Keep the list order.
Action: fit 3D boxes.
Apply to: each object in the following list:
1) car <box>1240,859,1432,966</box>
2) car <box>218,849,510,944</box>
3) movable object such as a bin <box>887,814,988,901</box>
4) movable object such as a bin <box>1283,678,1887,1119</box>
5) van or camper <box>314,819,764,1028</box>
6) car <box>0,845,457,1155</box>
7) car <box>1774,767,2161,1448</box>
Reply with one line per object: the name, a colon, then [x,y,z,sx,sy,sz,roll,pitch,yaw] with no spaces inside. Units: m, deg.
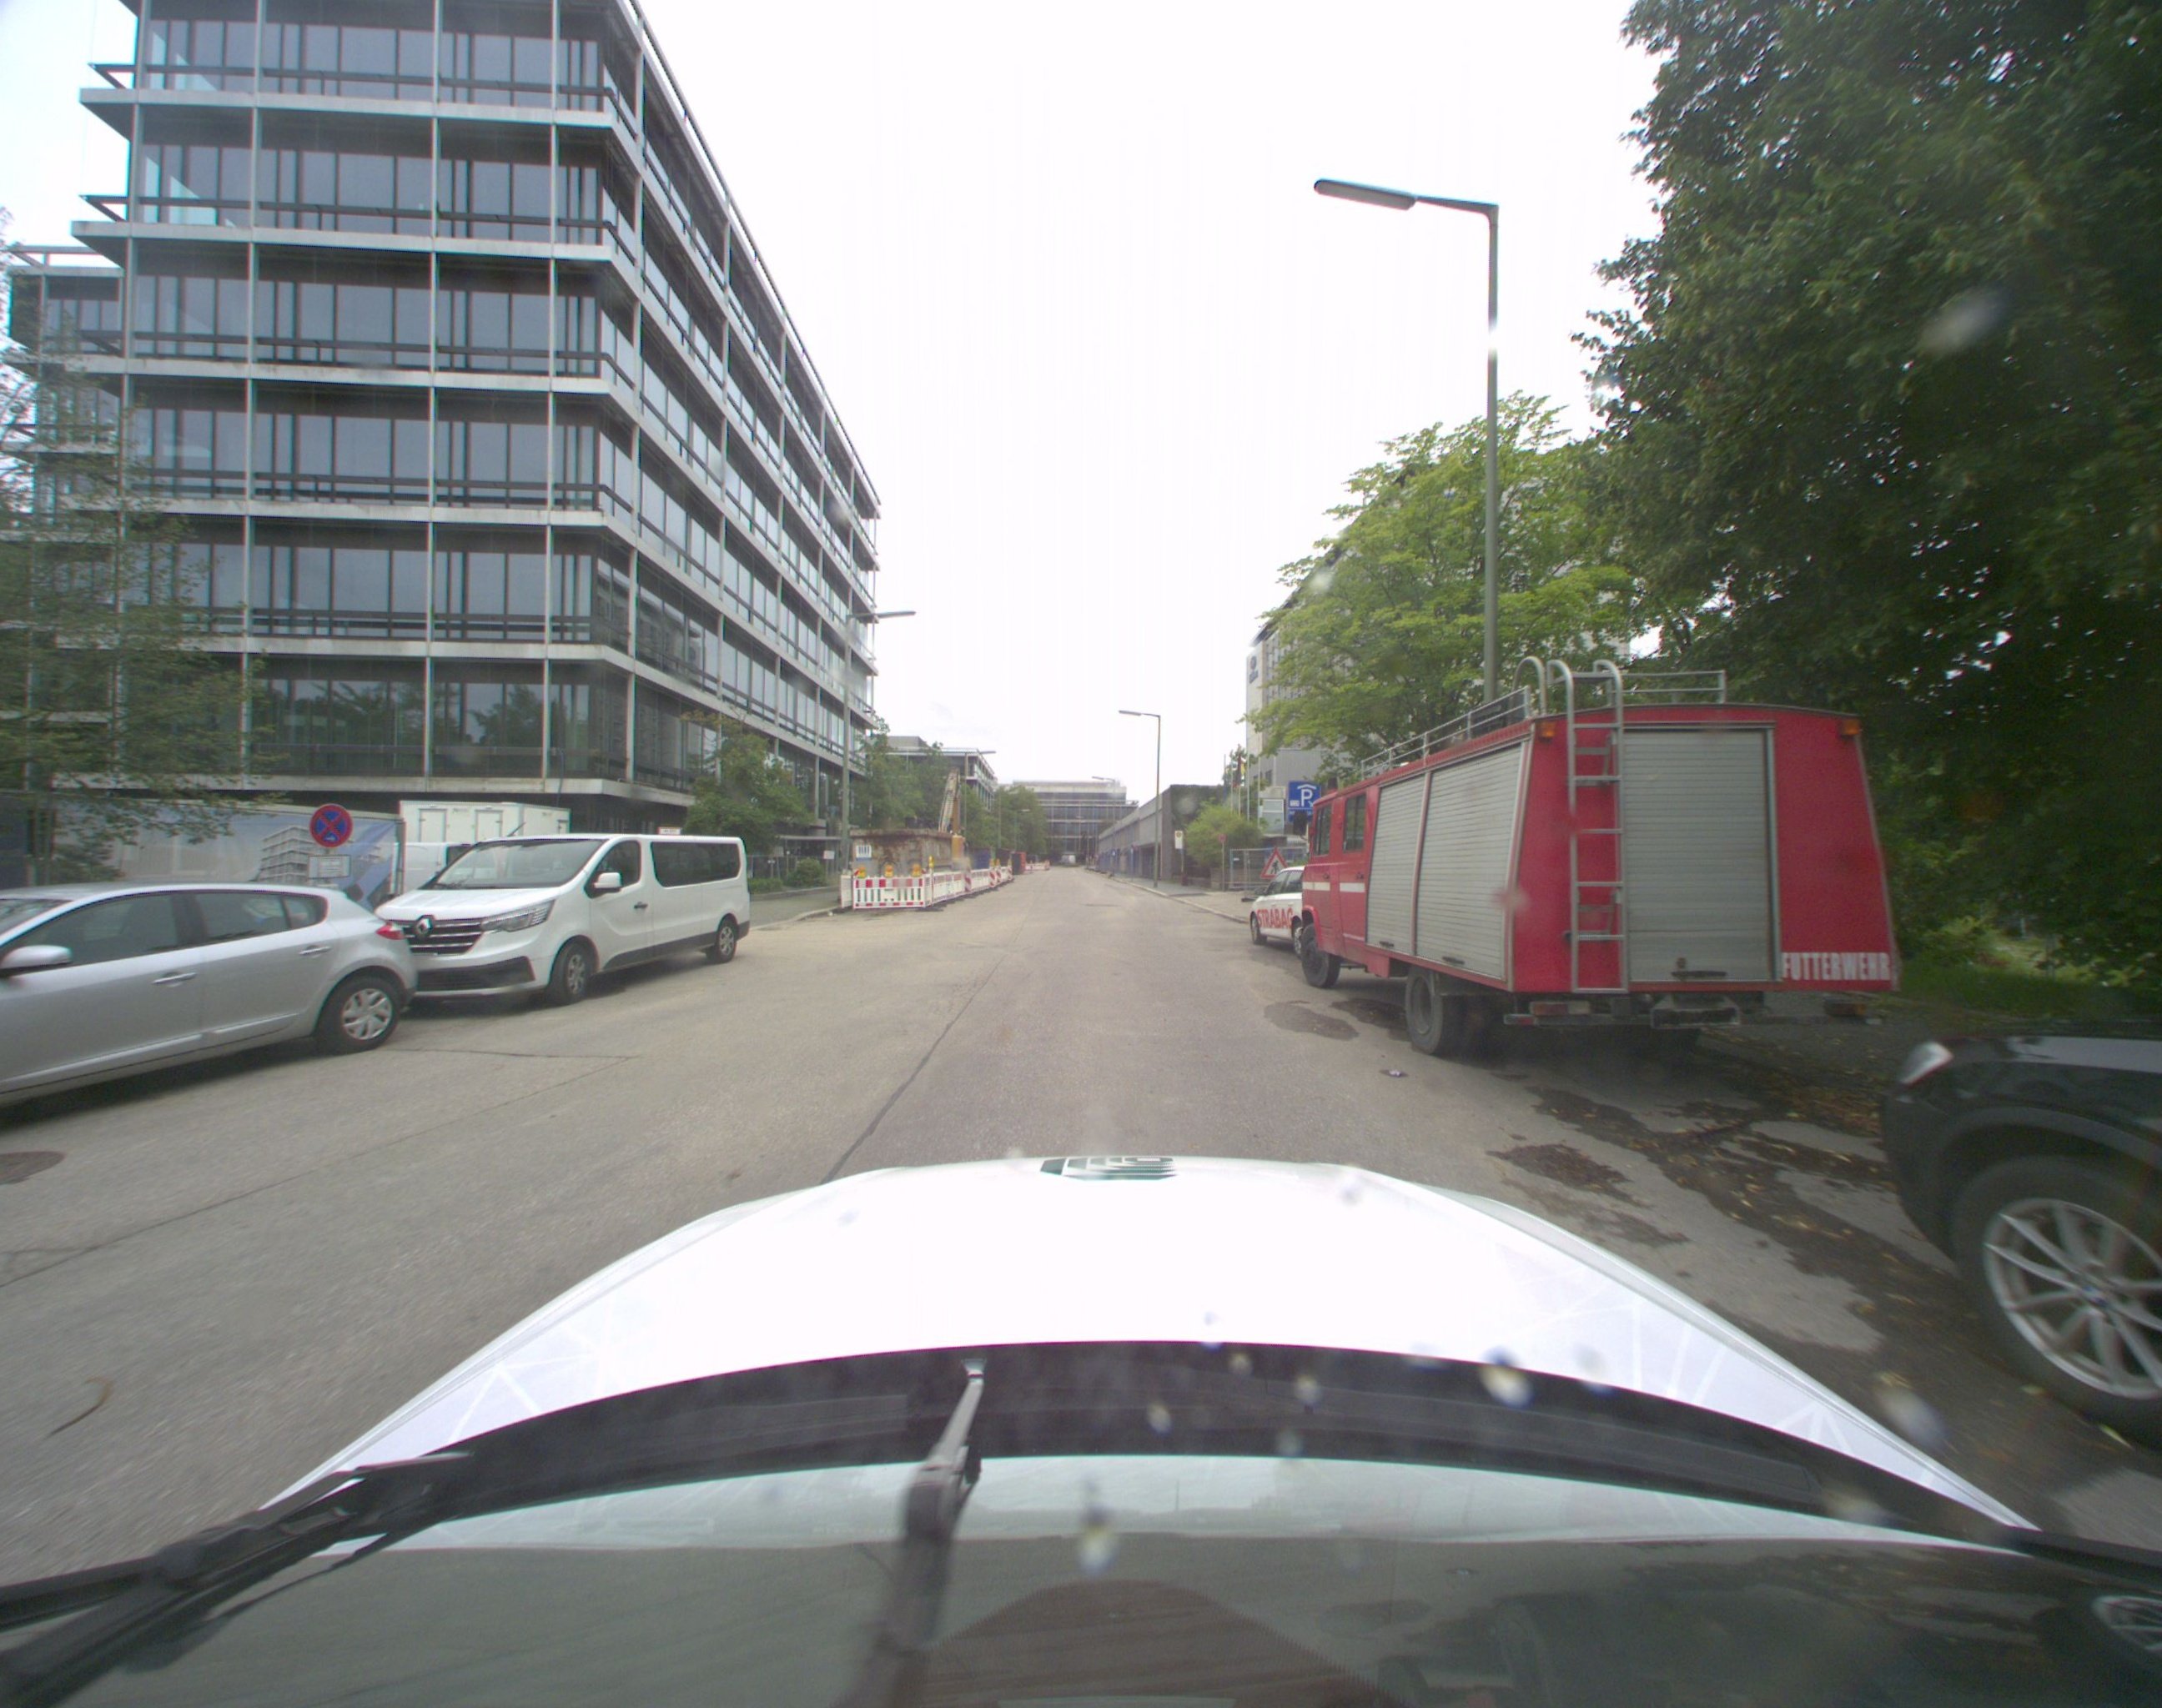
car: [4.163,0.868,14.070,1.772,1.550,4.251,0,-1,-4]
car: [-16.001,0.911,18.391,4.747,1.922,1.999,-1,0,-1]
movable object such as a bin: [-6.671,0.147,39.452,3.230,3.716,9.007,0,0,0]
movable object such as a bin: [3.583,0.273,7.674,2.095,2.458,6.191,0,-1,3]
van or camper: [-6.324,0.677,10.589,1.985,2.013,5.382,0,0,4]
car: [-6.936,0.818,5.348,1.984,1.728,4.456,0,0,5]
car: [3.481,0.601,0.846,1.770,1.649,4.460,0,-1,1]
